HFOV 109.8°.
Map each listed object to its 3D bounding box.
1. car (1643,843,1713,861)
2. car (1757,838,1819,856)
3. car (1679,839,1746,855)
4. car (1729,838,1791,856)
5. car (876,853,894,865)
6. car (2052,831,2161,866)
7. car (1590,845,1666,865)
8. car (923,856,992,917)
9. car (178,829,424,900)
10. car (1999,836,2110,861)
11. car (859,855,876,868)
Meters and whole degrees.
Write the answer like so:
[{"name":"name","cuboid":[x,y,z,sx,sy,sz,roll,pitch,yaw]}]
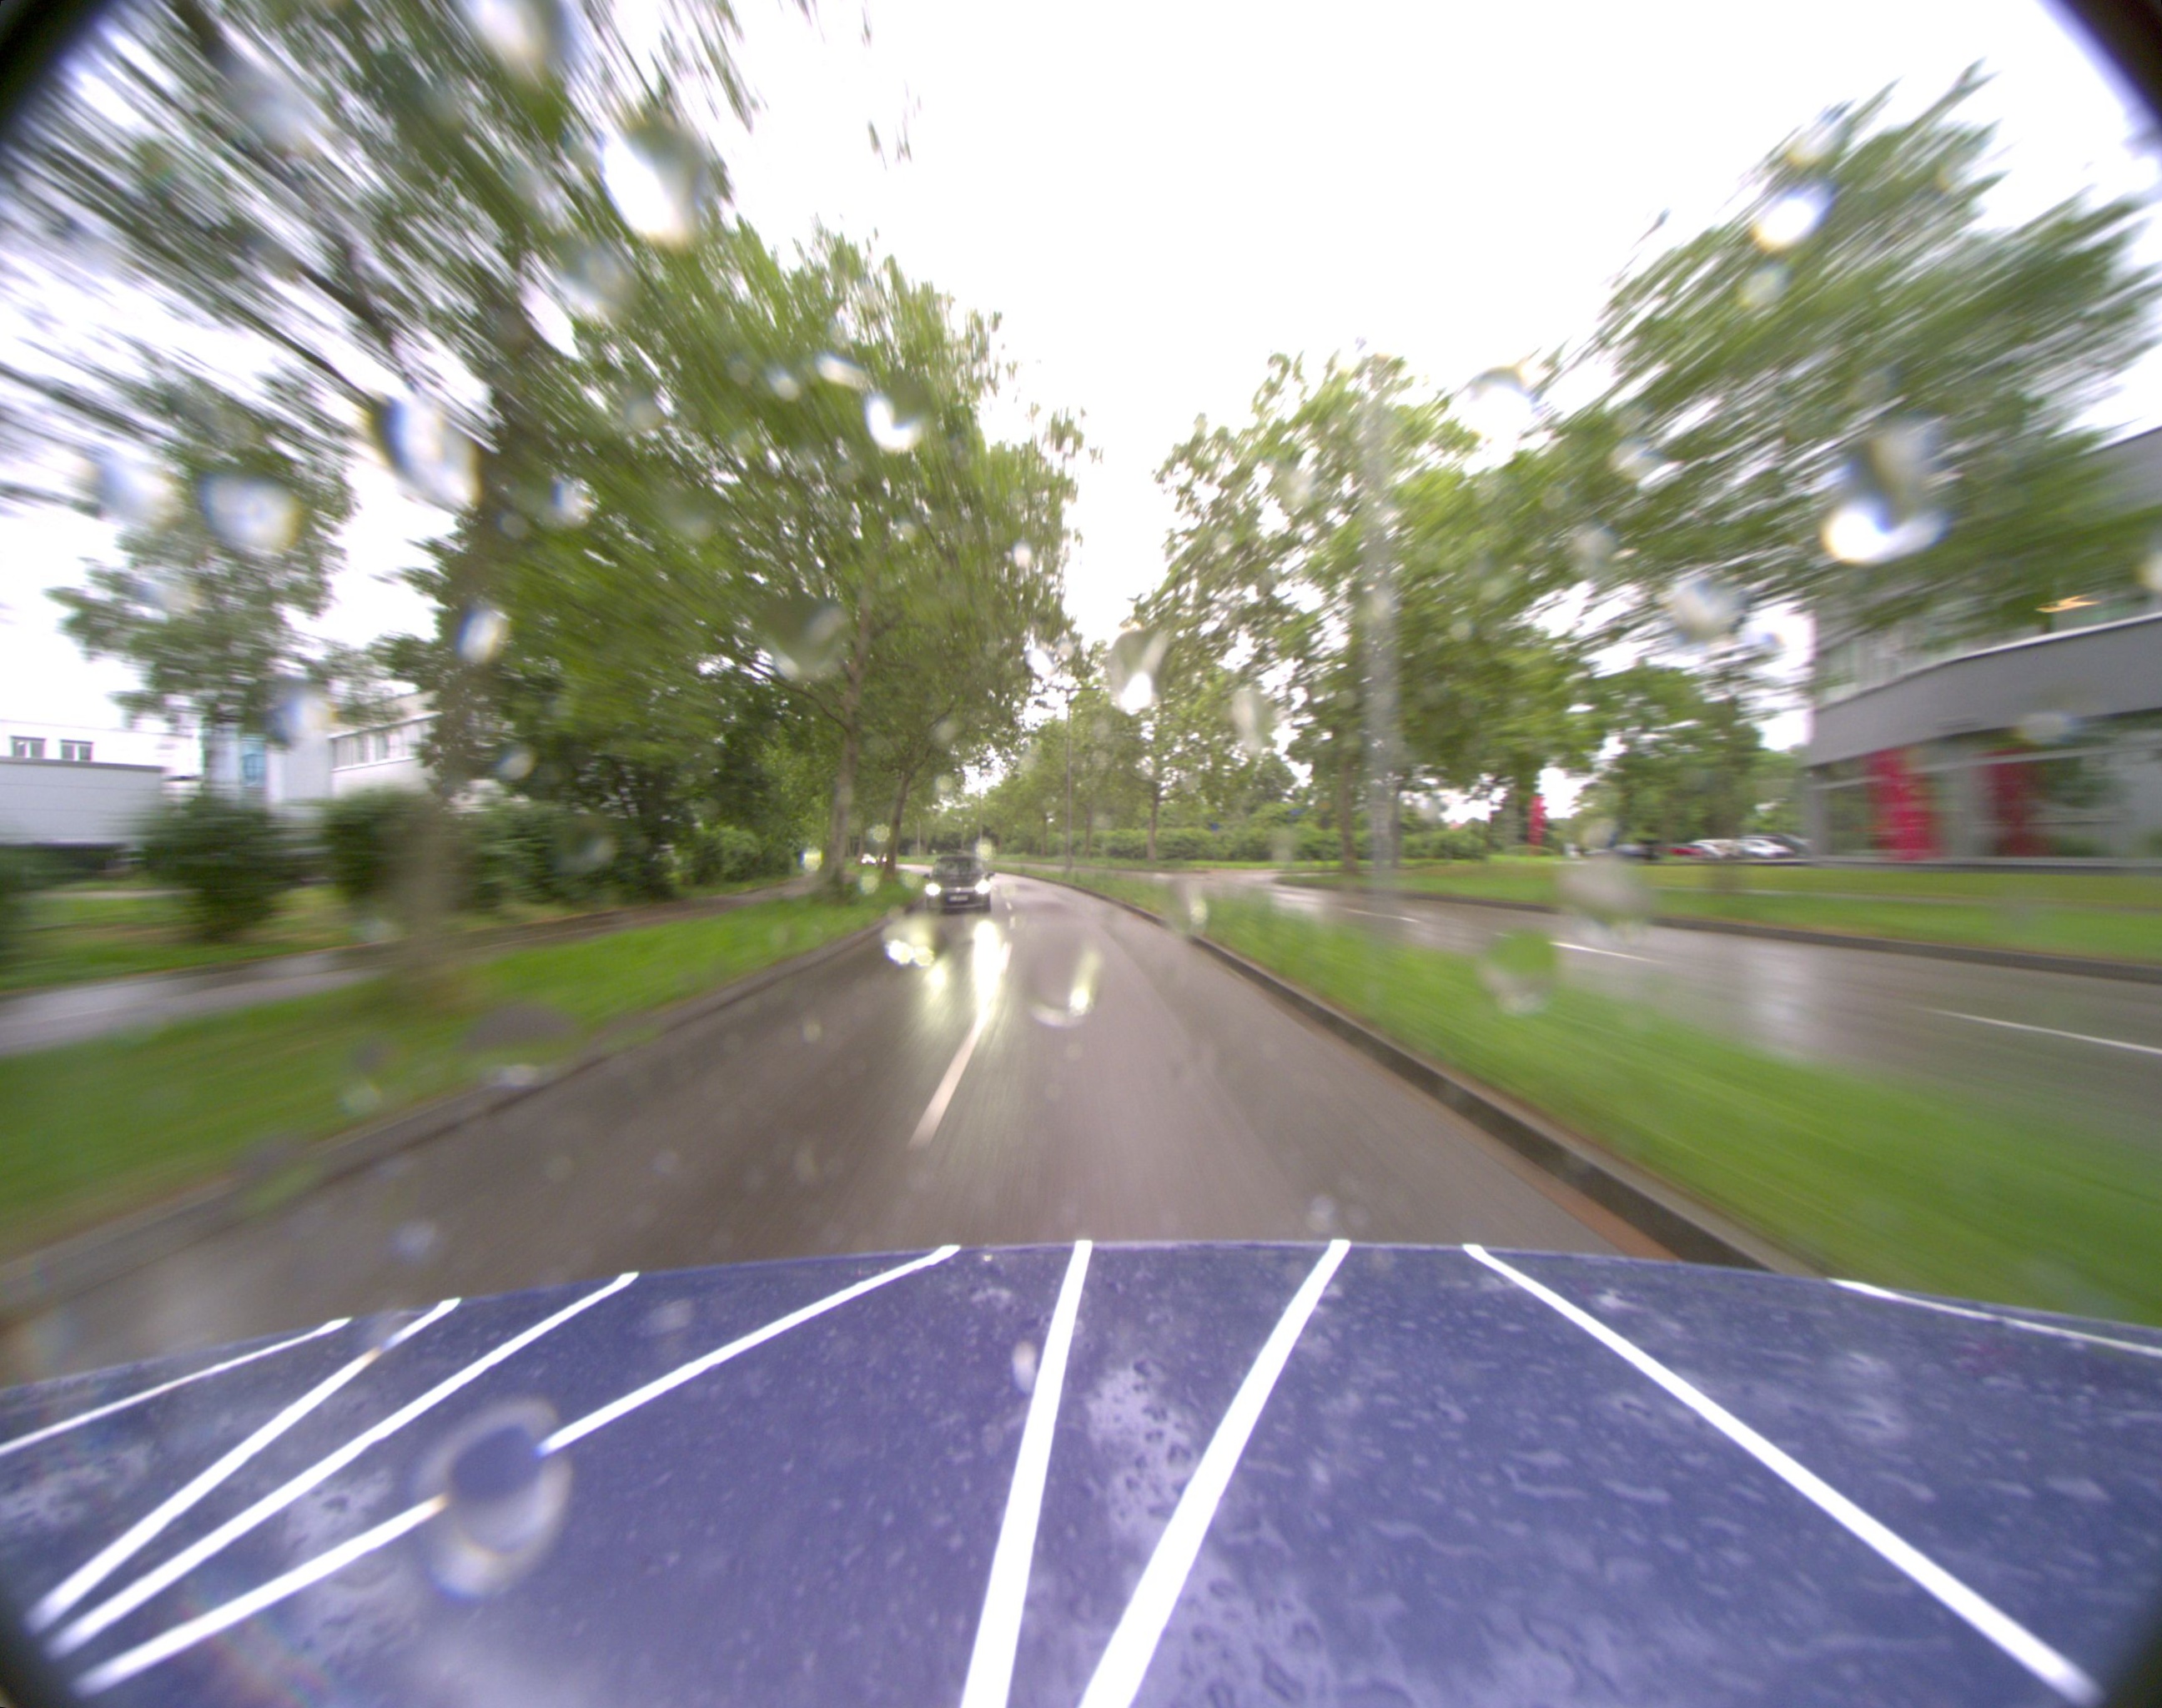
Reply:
[{"name":"car","cuboid":[48.433,-0.146,61.753,1.601,1.350,4.194,-1,1,-32]},{"name":"car","cuboid":[69.737,-0.690,74.963,1.601,1.735,4.194,-1,1,-32]},{"name":"car","cuboid":[54.881,-0.574,66.126,1.601,1.350,4.194,-1,1,-32]},{"name":"car","cuboid":[64.907,-0.650,72.681,1.601,1.618,4.194,-1,1,-32]},{"name":"car","cuboid":[-25.462,0.680,98.834,1.787,1.546,3.993,-1,0,-21]},{"name":"car","cuboid":[55.790,-0.296,40.779,4.195,1.803,1.821,-1,1,22]},{"name":"car","cuboid":[40.546,0.076,56.399,1.601,1.350,4.282,-1,1,-32]},{"name":"car","cuboid":[-3.618,0.895,22.771,1.785,1.546,3.997,-3,1,-7]},{"name":"car","cuboid":[-18.735,0.265,18.381,4.153,1.473,1.769,-2,-1,1]},{"name":"car","cuboid":[61.266,-0.333,47.885,1.601,1.486,4.194,-1,1,-34]},{"name":"car","cuboid":[-26.846,0.891,95.499,1.787,1.546,3.993,-1,0,-20]}]
